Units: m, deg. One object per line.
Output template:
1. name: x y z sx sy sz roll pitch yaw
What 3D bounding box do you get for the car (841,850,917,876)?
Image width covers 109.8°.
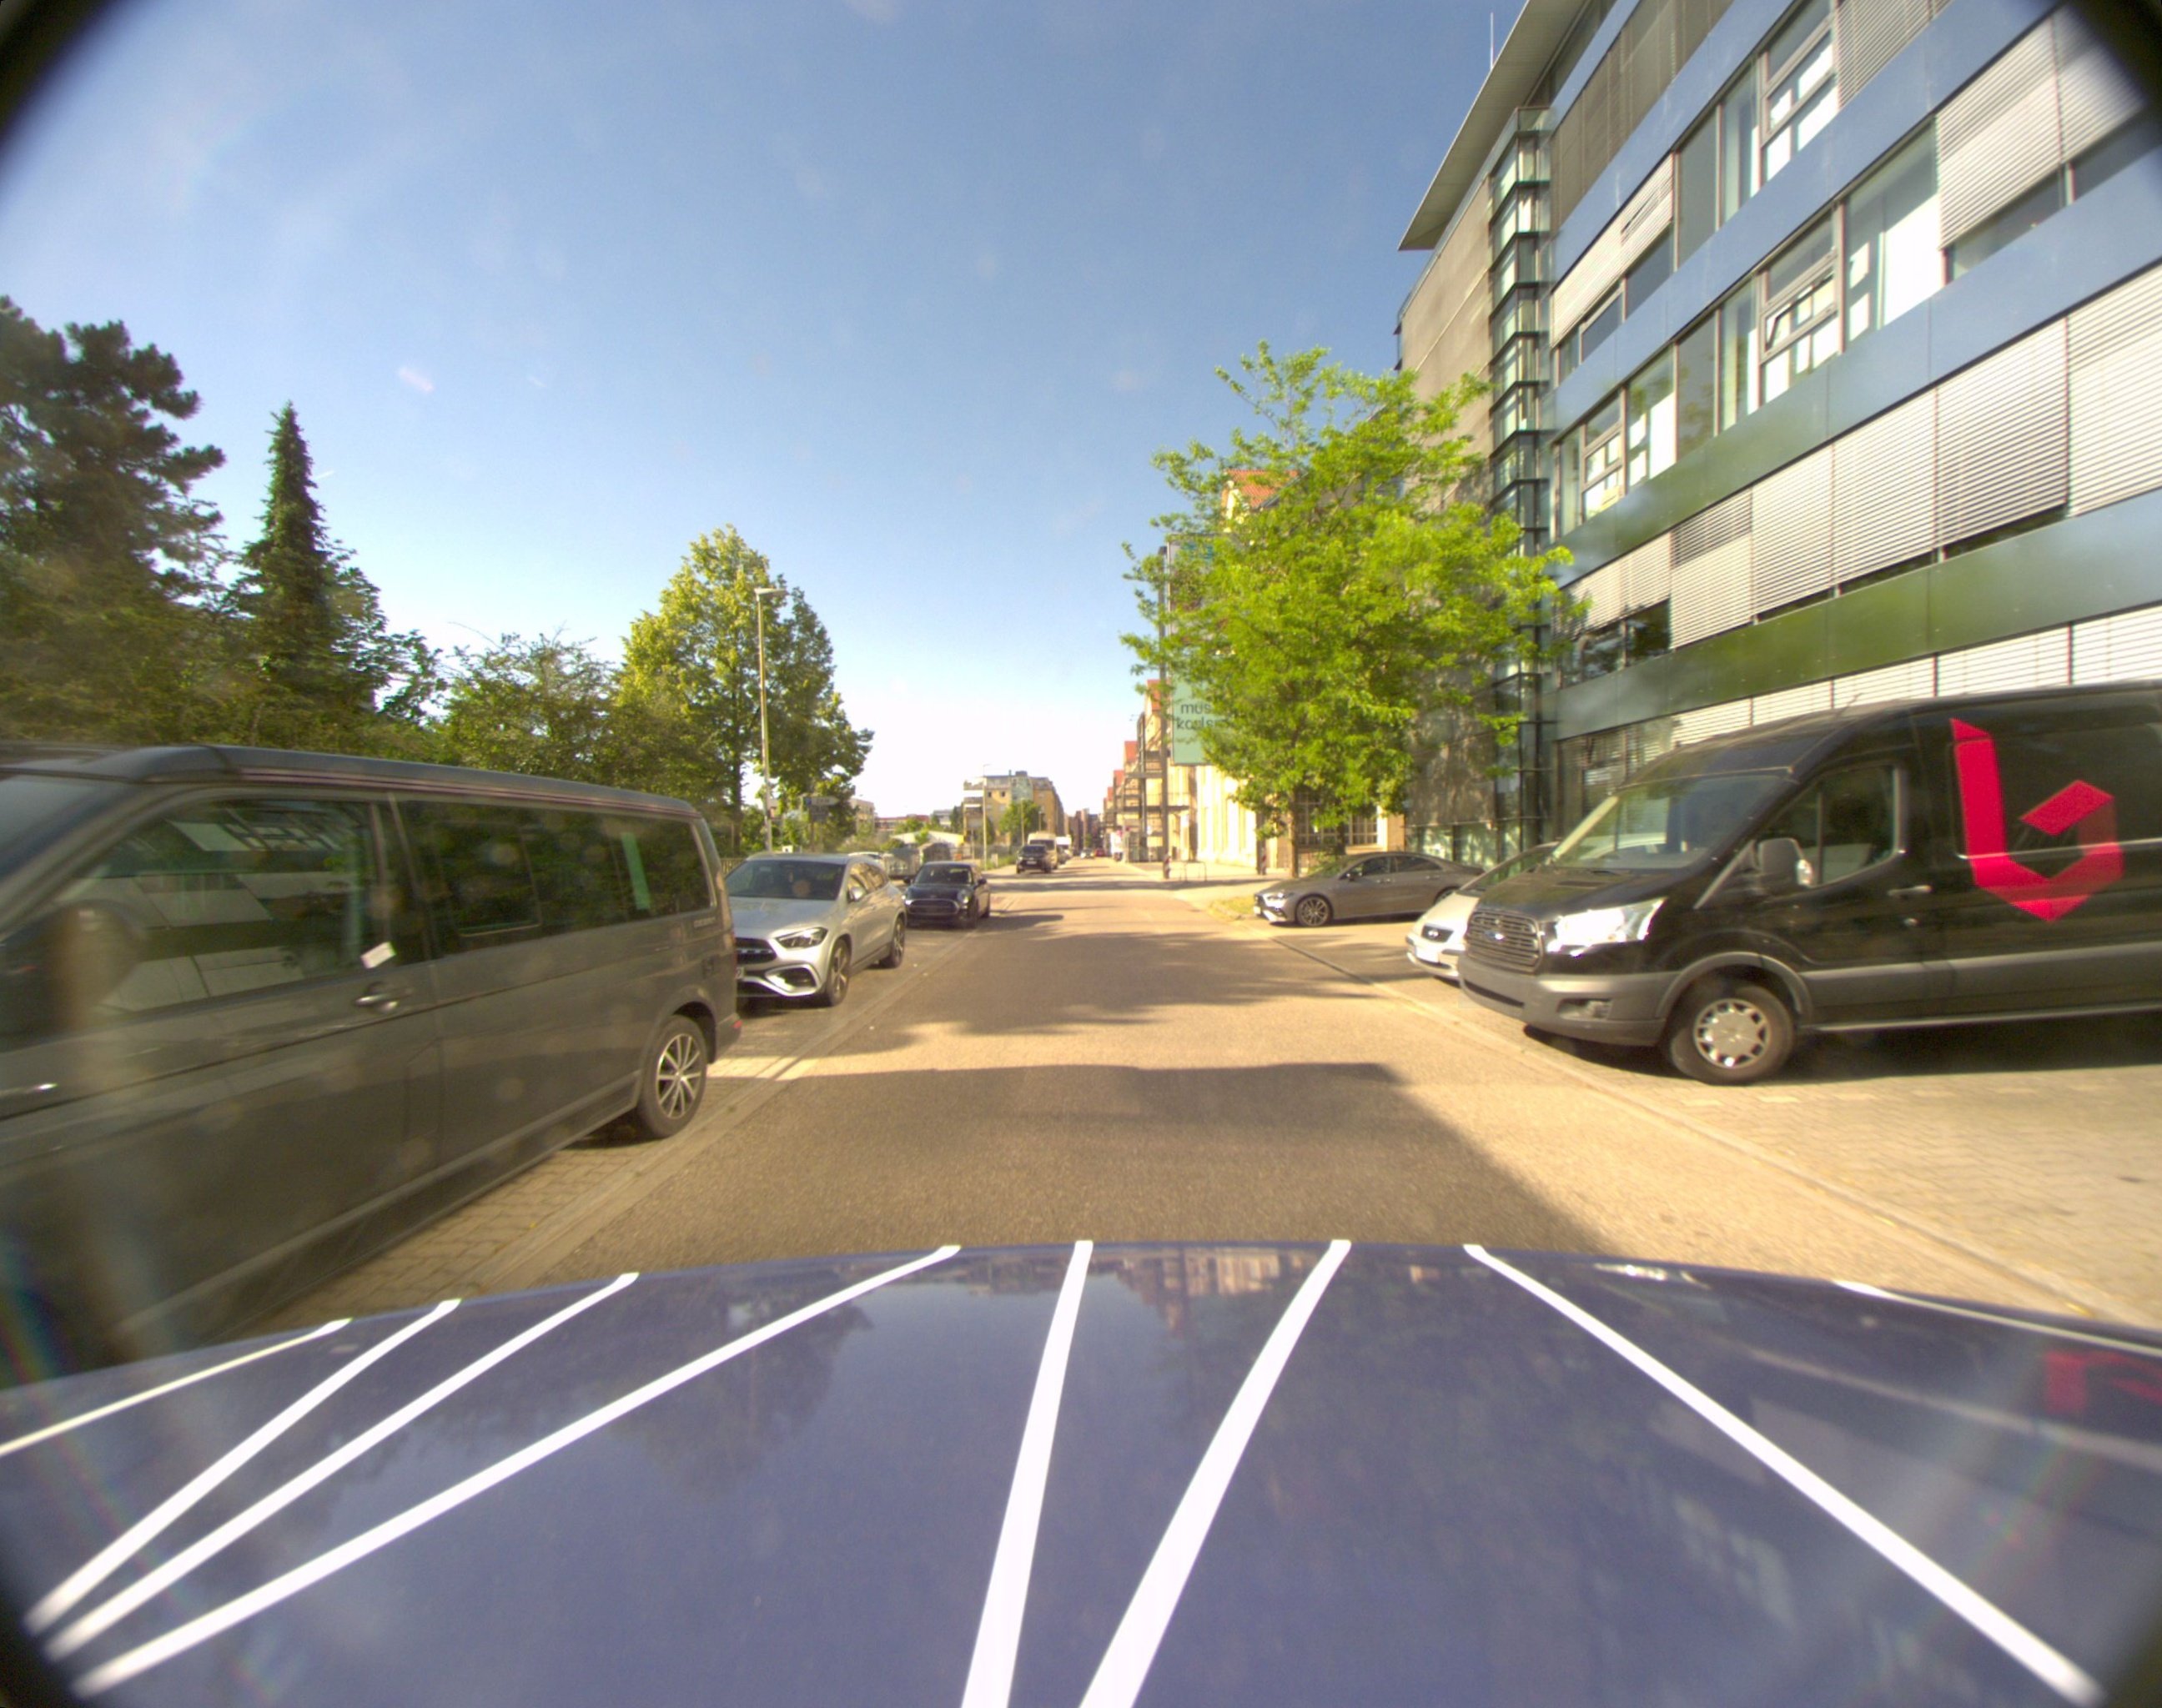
1. car: -13.454 0.596 50.795 4.422 1.600 2.000 -1 1 3

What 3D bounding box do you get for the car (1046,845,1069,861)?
1. car: -2.165 -0.071 71.130 1.850 1.417 4.224 -2 1 1

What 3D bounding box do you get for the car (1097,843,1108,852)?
1. car: 3.581 -1.140 124.642 1.760 1.440 4.000 -1 1 3

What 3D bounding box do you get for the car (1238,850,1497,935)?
1. car: 5.720 0.737 15.602 4.546 1.343 1.892 -4 1 0

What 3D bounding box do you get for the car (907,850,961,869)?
1. car: -12.690 0.485 65.822 4.238 1.551 1.898 -1 1 3

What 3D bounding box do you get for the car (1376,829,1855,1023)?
1. car: 5.531 0.675 8.259 3.841 1.636 1.891 -4 1 -1

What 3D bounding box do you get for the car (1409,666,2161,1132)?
1. car: 5.708 0.214 5.662 5.468 2.607 2.231 -3 1 0

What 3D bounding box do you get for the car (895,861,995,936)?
1. car: -3.038 0.936 17.649 1.656 1.464 3.763 0 1 0

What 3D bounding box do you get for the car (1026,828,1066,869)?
1. car: -2.348 -0.400 52.837 2.163 2.582 6.284 -2 1 2

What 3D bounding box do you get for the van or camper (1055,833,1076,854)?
1. van or camper: -2.096 -1.448 103.303 2.722 2.841 5.132 -1 1 -1

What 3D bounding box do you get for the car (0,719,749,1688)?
1. car: -3.209 0.707 2.639 1.948 2.010 4.824 0 1 0

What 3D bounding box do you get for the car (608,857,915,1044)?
1. car: -3.391 0.891 9.093 1.830 1.620 4.293 0 1 0

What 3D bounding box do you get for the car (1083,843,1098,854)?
1. car: 1.278 -0.727 99.000 1.850 1.417 4.224 -1 1 1

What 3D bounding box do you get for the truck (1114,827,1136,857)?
1. truck: 5.250 -1.471 90.988 2.498 3.412 7.127 0 1 3

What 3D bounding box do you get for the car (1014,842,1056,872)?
1. car: -2.594 0.140 43.971 1.998 1.686 4.103 -1 1 2
